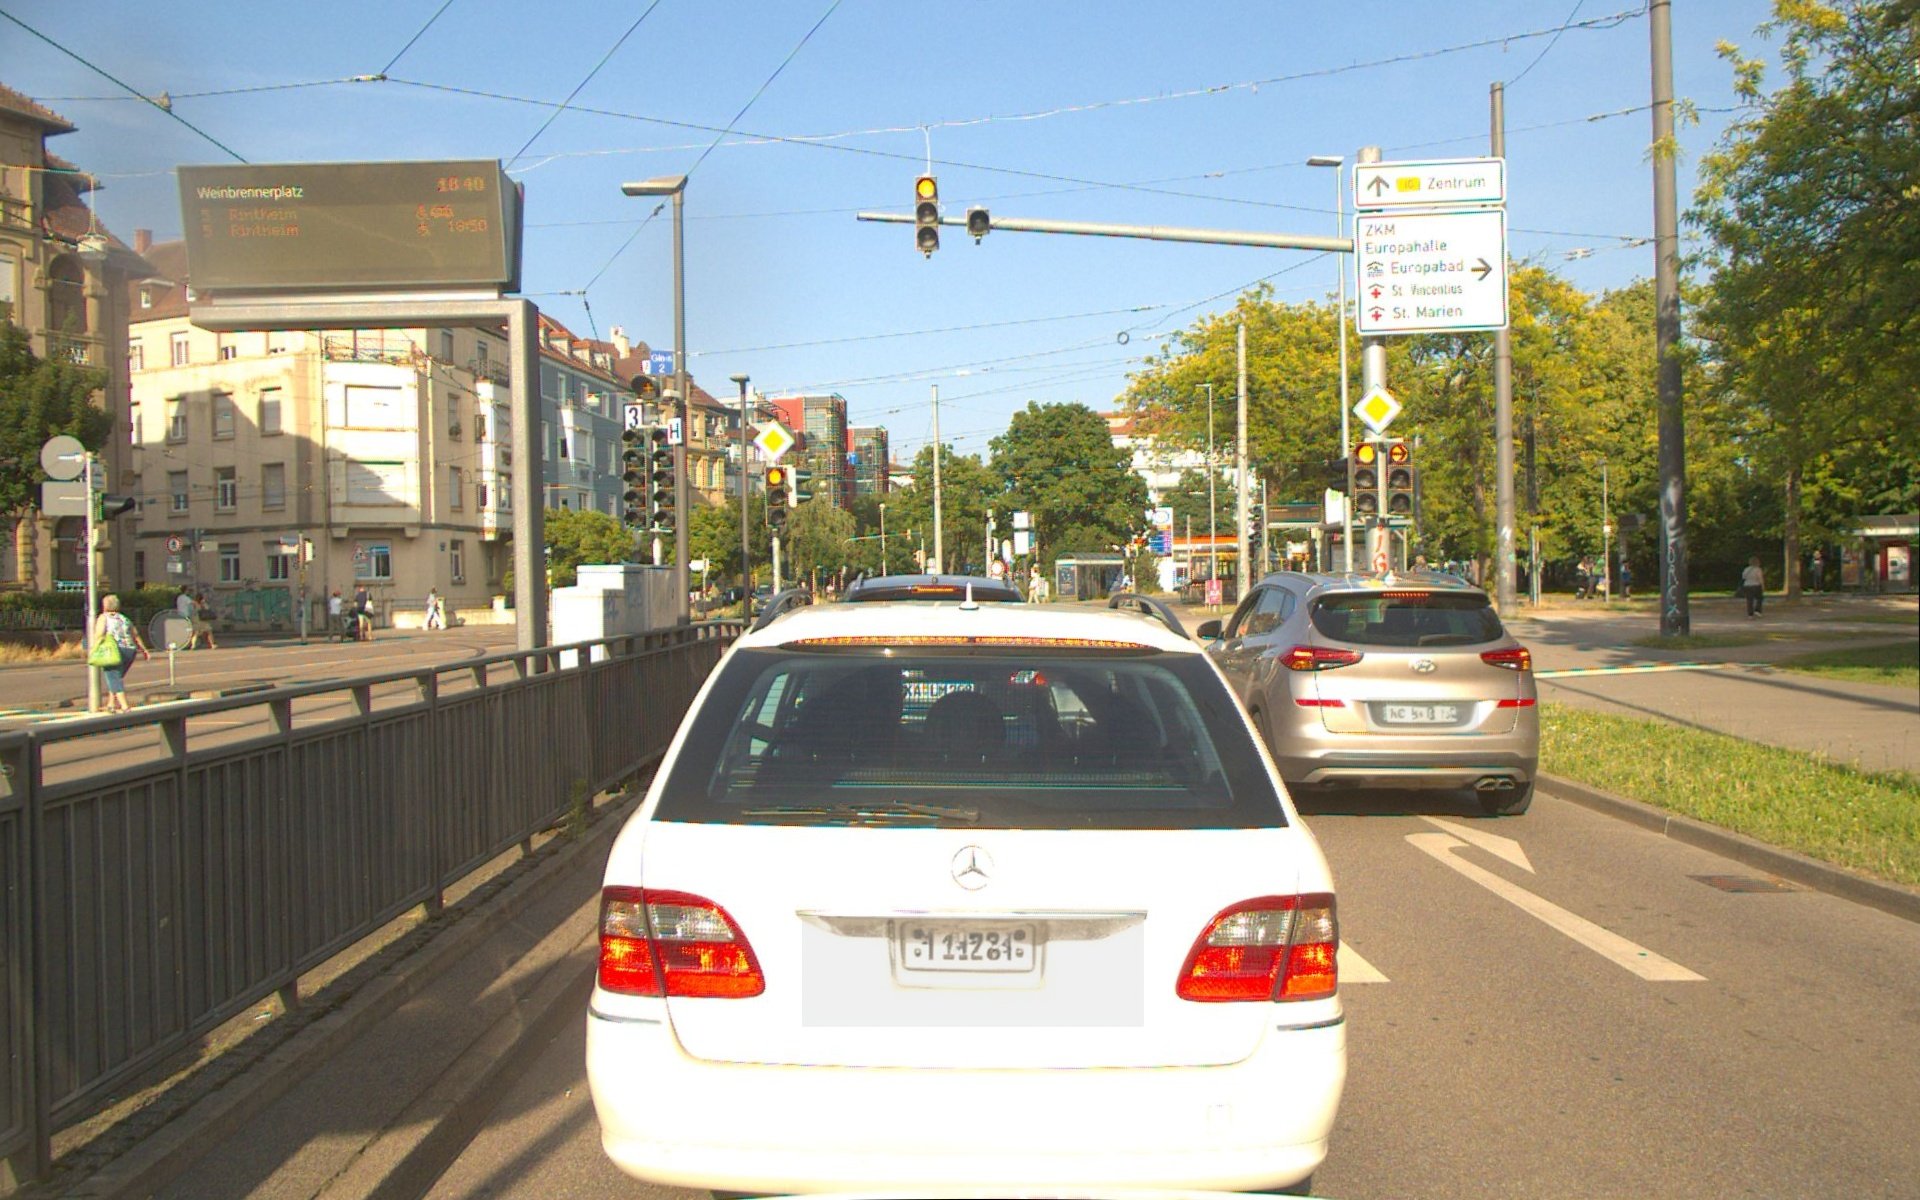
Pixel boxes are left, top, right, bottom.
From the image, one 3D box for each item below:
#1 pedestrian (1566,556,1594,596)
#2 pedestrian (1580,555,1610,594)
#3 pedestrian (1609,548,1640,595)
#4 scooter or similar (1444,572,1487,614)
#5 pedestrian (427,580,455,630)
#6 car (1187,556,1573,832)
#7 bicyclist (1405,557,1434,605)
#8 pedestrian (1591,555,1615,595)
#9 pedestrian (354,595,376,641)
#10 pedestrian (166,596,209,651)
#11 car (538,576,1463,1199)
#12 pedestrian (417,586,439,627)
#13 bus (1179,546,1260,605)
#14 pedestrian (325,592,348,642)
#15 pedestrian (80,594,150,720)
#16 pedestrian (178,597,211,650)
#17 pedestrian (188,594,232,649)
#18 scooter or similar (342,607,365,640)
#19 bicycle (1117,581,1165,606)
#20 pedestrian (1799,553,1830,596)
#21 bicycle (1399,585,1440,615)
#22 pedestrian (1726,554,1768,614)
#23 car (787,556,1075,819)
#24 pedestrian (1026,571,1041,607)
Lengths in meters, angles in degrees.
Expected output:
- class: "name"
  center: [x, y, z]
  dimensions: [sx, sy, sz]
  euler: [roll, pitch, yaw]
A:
- class: "pedestrian"
  center: [24.050, -0.922, 64.137]
  dimensions: [0.809, 1.513, 0.690]
  euler: [-2, 0, -42]
- class: "pedestrian"
  center: [24.857, -0.988, 64.757]
  dimensions: [0.799, 1.513, 0.699]
  euler: [-1, 0, -12]
- class: "pedestrian"
  center: [25.876, -1.118, 64.417]
  dimensions: [0.784, 1.816, 0.838]
  euler: [-1, 0, -5]
- class: "scooter or similar"
  center: [13.980, -0.190, 45.748]
  dimensions: [0.413, 1.136, 1.322]
  euler: [-1, 0, -20]
- class: "pedestrian"
  center: [-21.958, 0.207, 69.973]
  dimensions: [0.758, 2.049, 0.787]
  euler: [-1, 0, 14]
- class: "car"
  center: [2.886, 0.575, 12.195]
  dimensions: [1.846, 1.680, 3.647]
  euler: [-2, 0, -1]
- class: "bicyclist"
  center: [12.531, -0.510, 45.130]
  dimensions: [0.523, 1.284, 0.869]
  euler: [-1, 0, -1]
- class: "pedestrian"
  center: [24.597, -0.968, 63.242]
  dimensions: [0.797, 1.513, 0.700]
  euler: [-1, 0, 24]
- class: "pedestrian"
  center: [-20.036, 0.618, 55.722]
  dimensions: [0.428, 1.527, 0.549]
  euler: [-1, 0, 14]
- class: "pedestrian"
  center: [-22.837, 0.683, 48.911]
  dimensions: [0.812, 1.579, 0.782]
  euler: [-1, 0, 21]
- class: "car"
  center: [0.047, 0.691, 4.970]
  dimensions: [1.759, 1.496, 3.647]
  euler: [0, 0, -1]
- class: "pedestrian"
  center: [-22.263, 0.251, 69.187]
  dimensions: [0.606, 1.689, 0.586]
  euler: [-1, 0, 14]
- class: "bus"
  center: [17.690, -1.552, 112.009]
  dimensions: [3.044, 3.669, 12.376]
  euler: [1, 0, 20]
- class: "pedestrian"
  center: [-20.924, 0.550, 55.482]
  dimensions: [0.497, 1.654, 0.608]
  euler: [-1, 0, 0]
- class: "pedestrian"
  center: [-11.168, 0.744, 21.880]
  dimensions: [0.601, 1.627, 0.632]
  euler: [-1, 0, -7]
- class: "pedestrian"
  center: [-23.125, 0.709, 49.985]
  dimensions: [0.616, 1.568, 0.711]
  euler: [-1, 0, -1]
- class: "pedestrian"
  center: [-21.987, 0.631, 48.484]
  dimensions: [0.812, 1.579, 0.782]
  euler: [-1, 0, 21]
- class: "scooter or similar"
  center: [-20.649, 0.805, 56.289]
  dimensions: [0.532, 1.098, 0.683]
  euler: [1, 0, -1]
- class: "bicycle"
  center: [9.348, -0.343, 85.571]
  dimensions: [2.430, 1.234, 0.807]
  euler: [-1, 0, 7]
- class: "pedestrian"
  center: [33.388, -0.993, 64.613]
  dimensions: [0.818, 1.665, 0.803]
  euler: [-1, 0, 5]
- class: "bicycle"
  center: [12.544, -0.015, 45.203]
  dimensions: [0.485, 0.770, 2.168]
  euler: [-2, 0, -1]
- class: "pedestrian"
  center: [22.065, -0.449, 46.363]
  dimensions: [0.748, 1.665, 0.797]
  euler: [-2, 0, -40]
- class: "car"
  center: [-0.210, 0.554, 12.565]
  dimensions: [1.846, 1.680, 3.647]
  euler: [1, 0, -1]
- class: "pedestrian"
  center: [3.810, -0.572, 85.765]
  dimensions: [0.628, 1.889, 0.552]
  euler: [-1, 0, 11]
